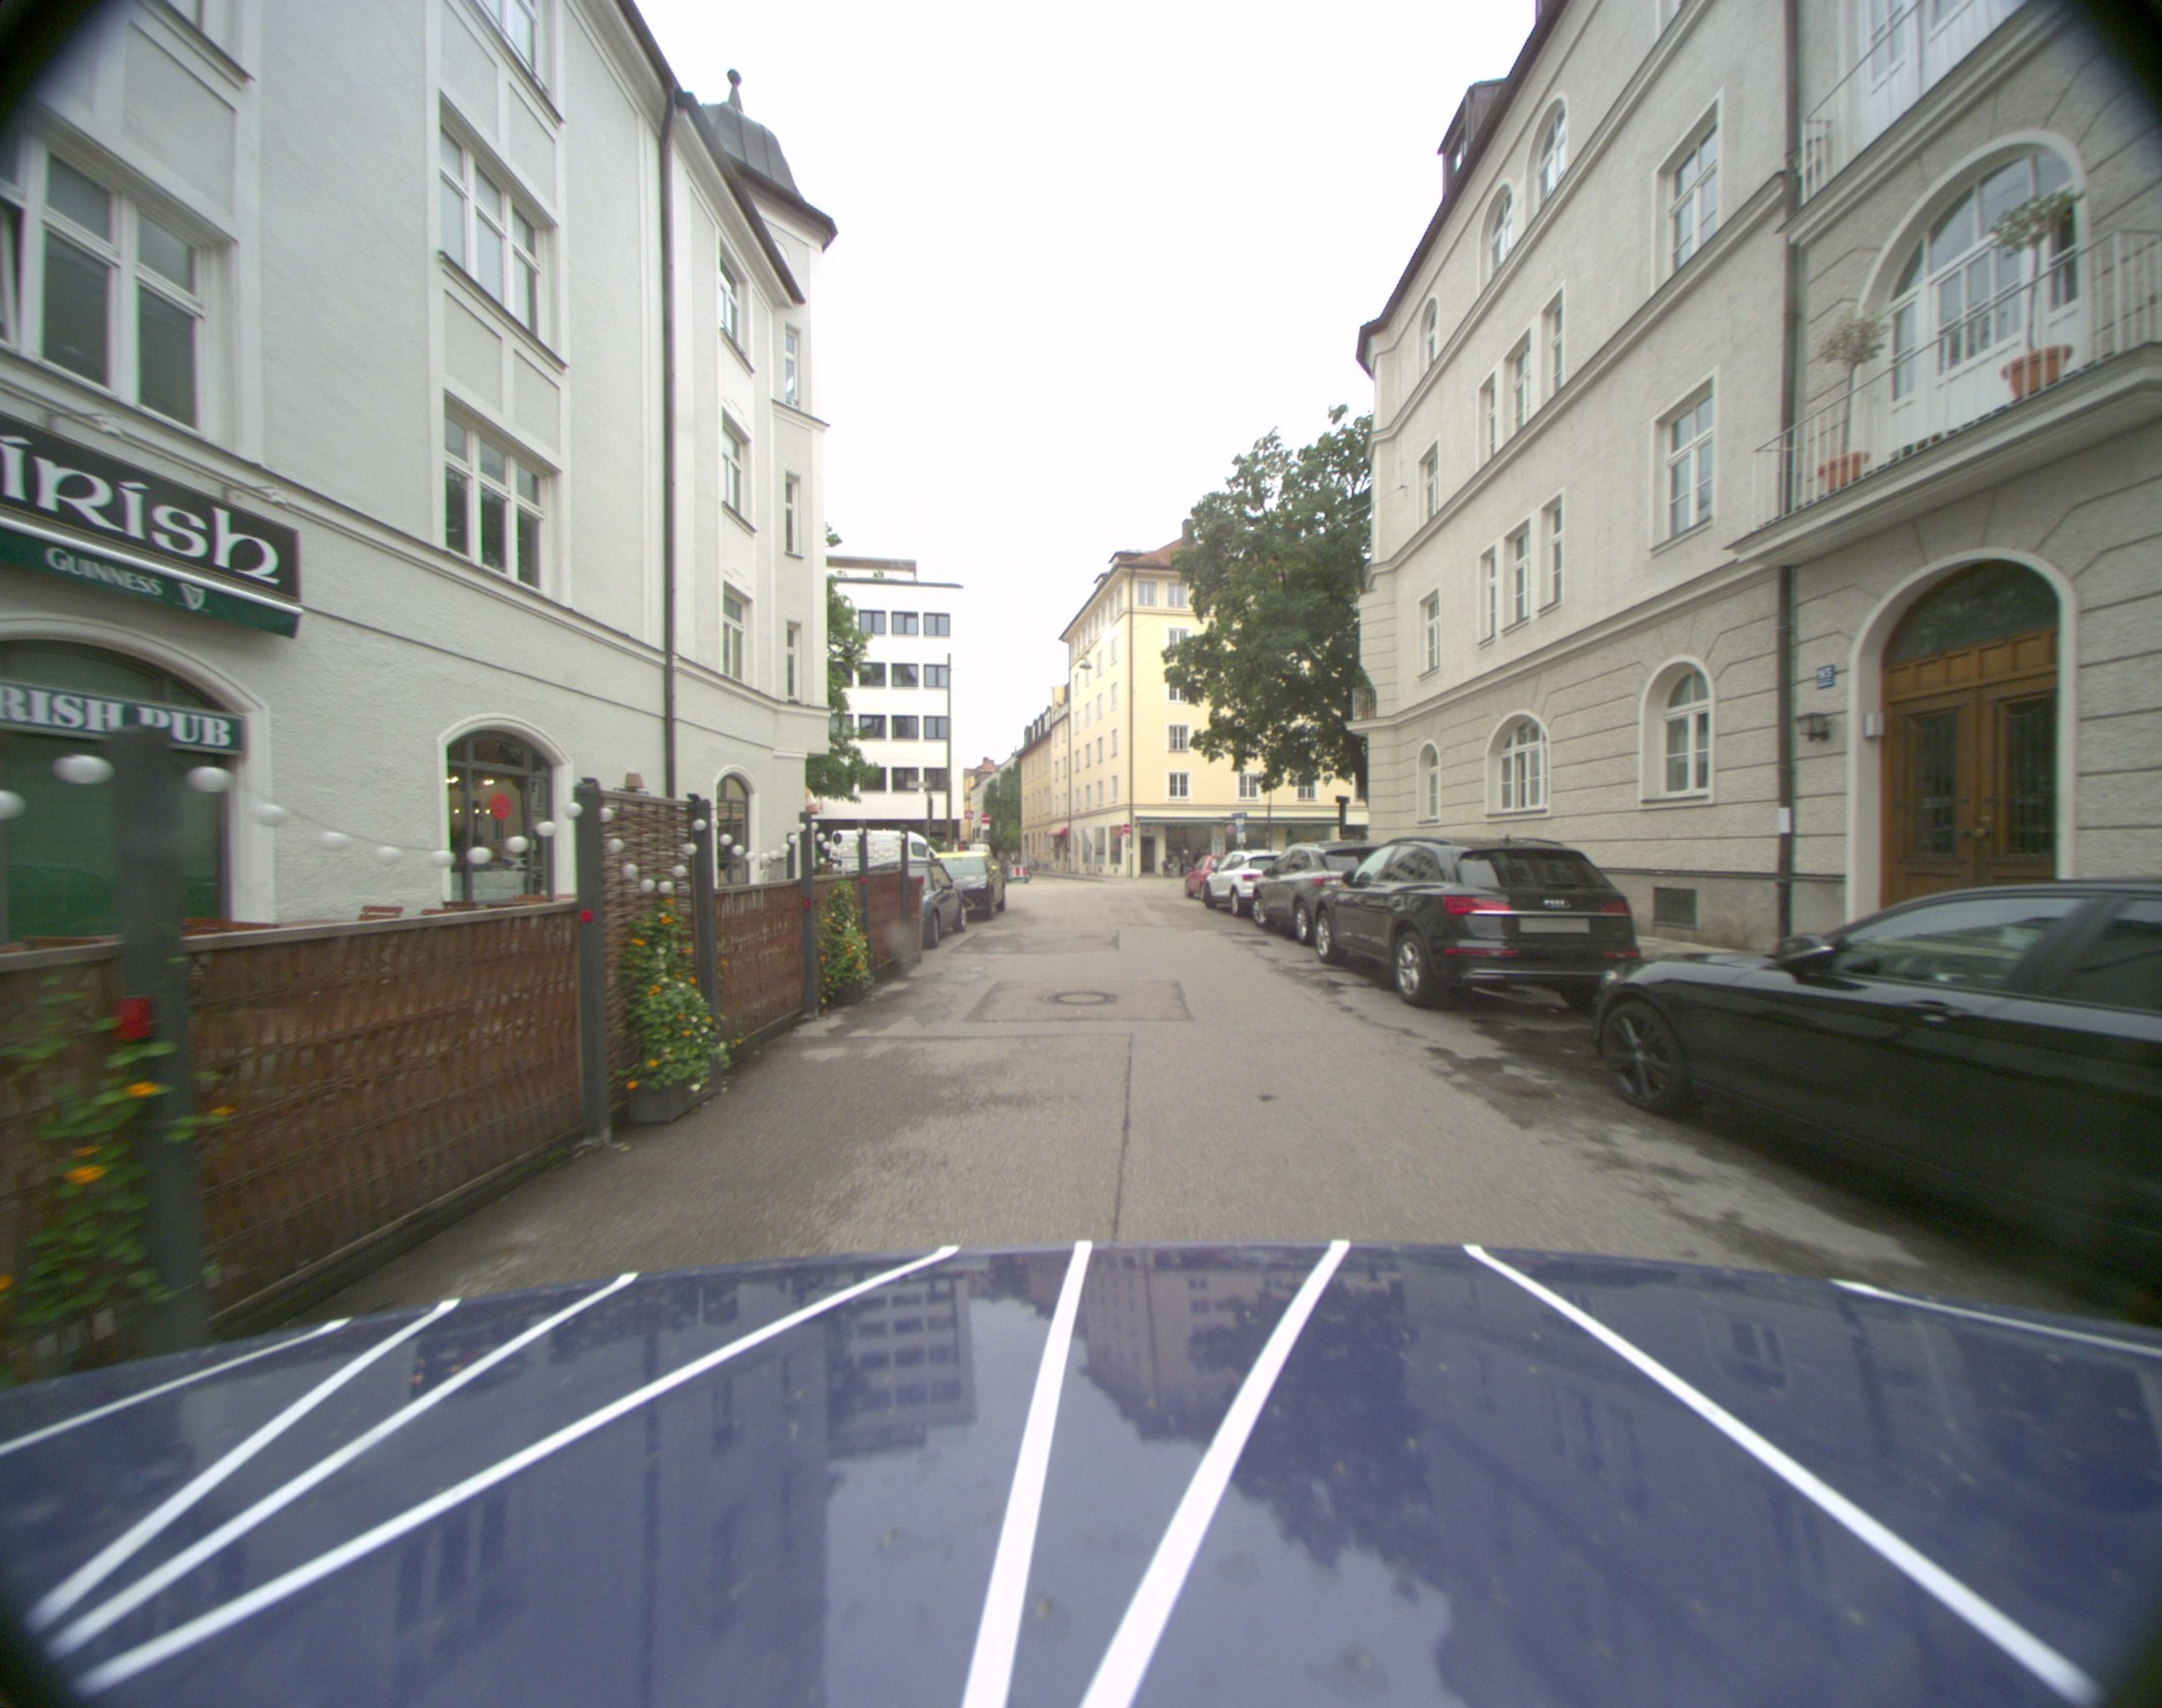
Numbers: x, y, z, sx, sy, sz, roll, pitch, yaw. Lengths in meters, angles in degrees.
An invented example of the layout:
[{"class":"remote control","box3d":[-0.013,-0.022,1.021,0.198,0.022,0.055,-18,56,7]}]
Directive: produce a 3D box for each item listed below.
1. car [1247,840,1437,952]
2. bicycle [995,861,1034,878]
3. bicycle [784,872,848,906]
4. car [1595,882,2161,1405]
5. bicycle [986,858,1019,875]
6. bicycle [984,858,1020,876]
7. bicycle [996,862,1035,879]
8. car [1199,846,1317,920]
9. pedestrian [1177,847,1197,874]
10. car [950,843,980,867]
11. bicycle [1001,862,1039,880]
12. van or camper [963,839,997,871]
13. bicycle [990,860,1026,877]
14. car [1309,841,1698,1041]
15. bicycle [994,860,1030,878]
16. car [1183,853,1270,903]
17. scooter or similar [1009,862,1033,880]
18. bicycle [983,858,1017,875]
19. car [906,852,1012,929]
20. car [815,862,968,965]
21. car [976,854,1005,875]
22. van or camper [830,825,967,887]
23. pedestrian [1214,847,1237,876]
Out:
[{"class":"car","box3d":[4.385,0.618,13.520,1.841,1.668,4.212,-1,0,-2]},{"class":"bicycle","box3d":[-3.971,0.928,45.231,2.176,0.958,0.974,-1,1,-12]},{"class":"bicycle","box3d":[-9.272,1.223,26.606,2.009,1.124,0.687,-1,1,4]},{"class":"car","box3d":[3.984,0.902,2.658,1.658,1.399,4.091,0,1,1]},{"class":"bicycle","box3d":[-5.317,0.852,51.442,2.206,1.139,0.695,-1,1,-12]},{"class":"bicycle","box3d":[-5.039,0.834,48.723,2.209,1.139,0.739,-1,1,-12]},{"class":"bicycle","box3d":[-3.799,0.946,44.085,2.178,0.971,0.974,-1,1,-12]},{"class":"car","box3d":[4.167,0.615,18.521,1.699,1.559,3.949,-1,1,-4]},{"class":"pedestrian","box3d":[6.284,0.366,45.054,0.920,1.601,0.777,0,1,30]},{"class":"car","box3d":[-10.541,0.098,68.750,2.002,2.122,3.993,-1,1,-19]},{"class":"bicycle","box3d":[-3.453,0.931,42.945,1.995,0.958,0.972,-1,1,-12]},{"class":"van or camper","box3d":[-8.400,0.106,62.745,1.968,2.494,5.715,-1,0,-16]},{"class":"bicycle","box3d":[-4.551,0.881,47.424,2.154,1.026,0.974,-1,1,-12]},{"class":"car","box3d":[4.056,0.690,8.316,1.881,1.590,4.433,-1,0,1]},{"class":"bicycle","box3d":[-4.222,0.894,46.304,2.106,1.026,0.974,-1,1,-12]},{"class":"car","box3d":[4.362,0.654,23.424,1.685,1.385,4.477,0,0,-2]},{"class":"scooter or similar","box3d":[-3.306,0.931,41.814,1.283,0.970,0.498,-1,1,-12]},{"class":"bicycle","box3d":[-5.575,0.859,52.342,2.208,1.139,0.638,-1,1,-12]},{"class":"car","box3d":[-2.895,0.802,18.865,1.841,1.609,4.094,-3,0,0]},{"class":"car","box3d":[-3.106,0.916,13.145,1.670,1.392,3.492,-3,0,0]},{"class":"car","box3d":[-6.600,0.736,55.232,1.760,1.386,3.996,-1,0,-11]},{"class":"van or camper","box3d":[-8.223,0.118,34.879,5.870,2.697,2.303,-1,-2,-8]},{"class":"pedestrian","box3d":[8.357,0.412,43.979,1.125,1.667,0.870,0,1,-9]}]
